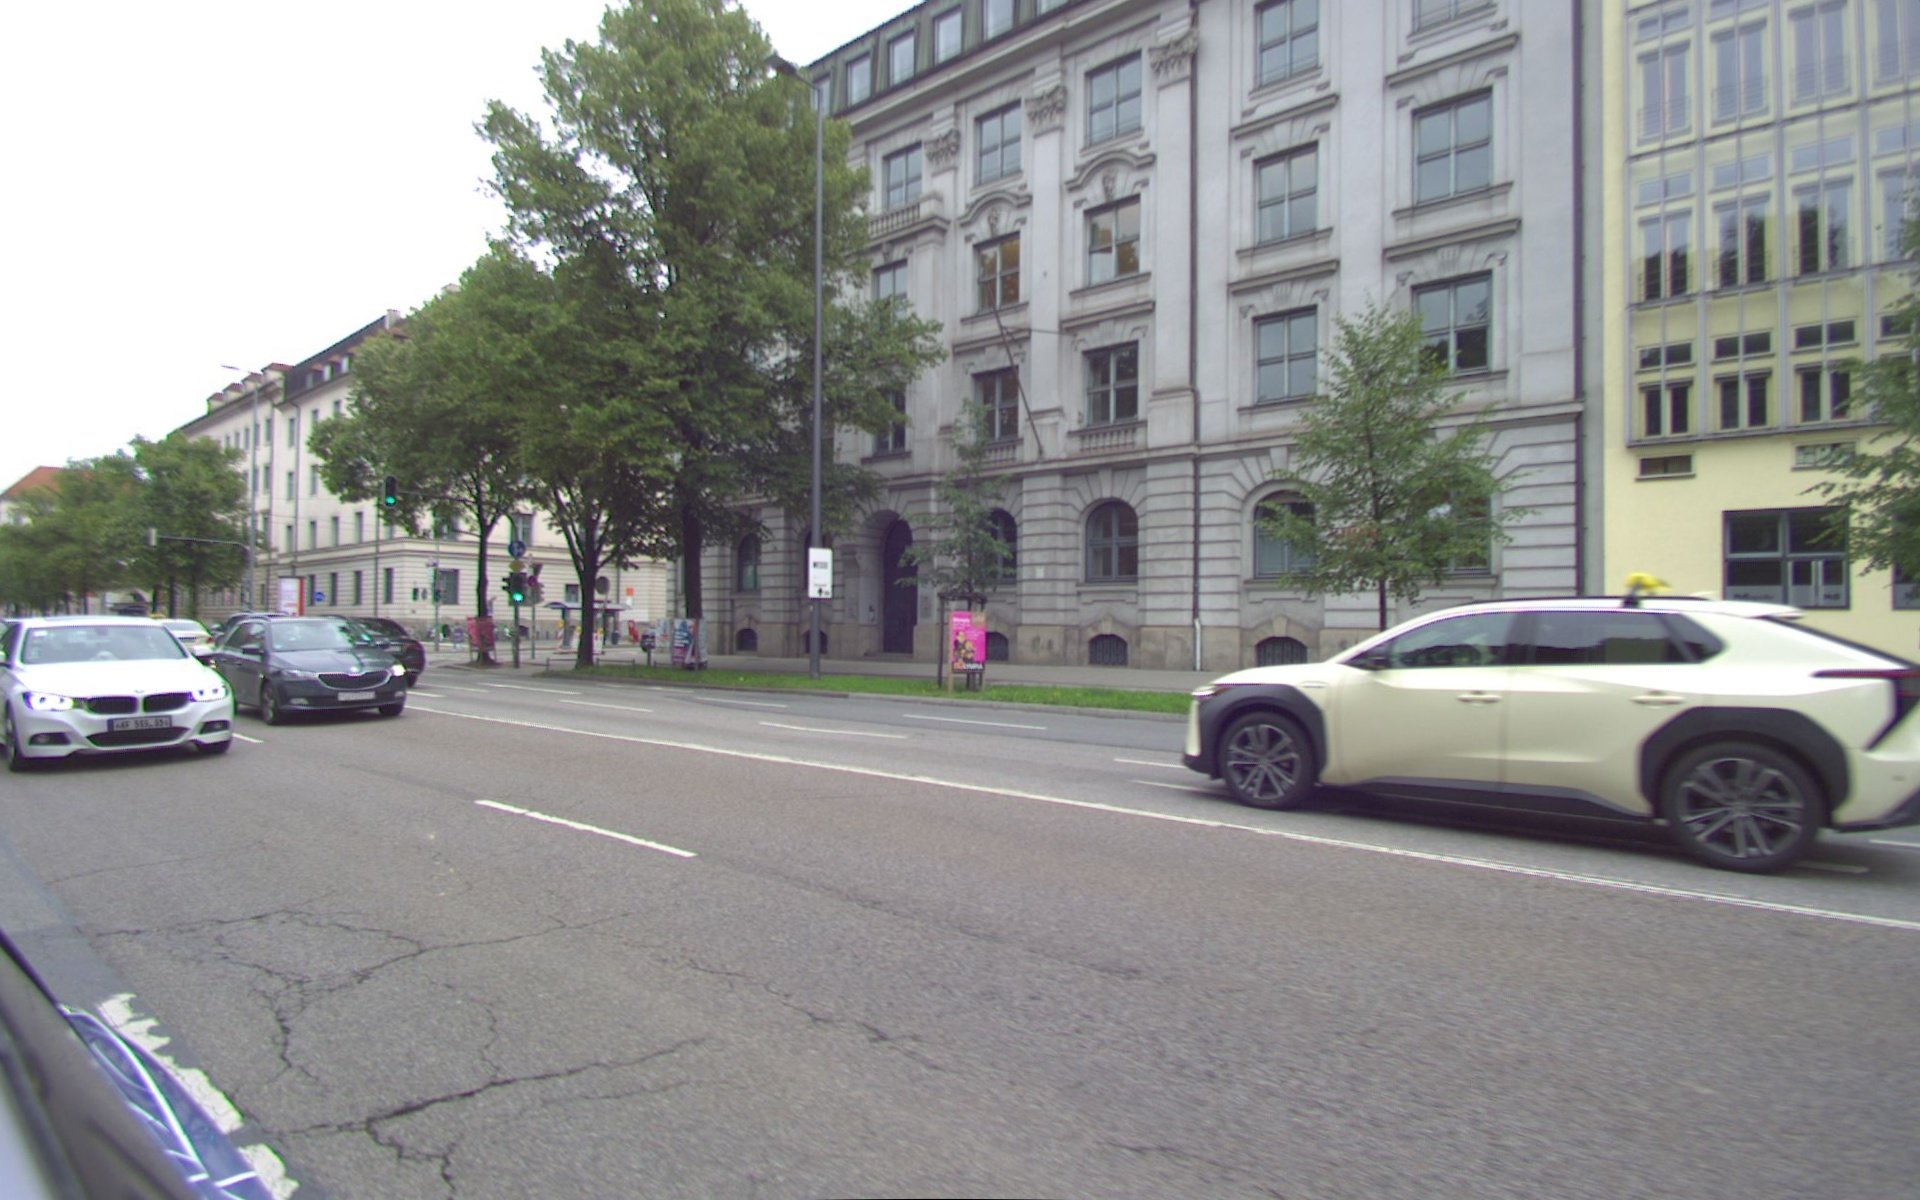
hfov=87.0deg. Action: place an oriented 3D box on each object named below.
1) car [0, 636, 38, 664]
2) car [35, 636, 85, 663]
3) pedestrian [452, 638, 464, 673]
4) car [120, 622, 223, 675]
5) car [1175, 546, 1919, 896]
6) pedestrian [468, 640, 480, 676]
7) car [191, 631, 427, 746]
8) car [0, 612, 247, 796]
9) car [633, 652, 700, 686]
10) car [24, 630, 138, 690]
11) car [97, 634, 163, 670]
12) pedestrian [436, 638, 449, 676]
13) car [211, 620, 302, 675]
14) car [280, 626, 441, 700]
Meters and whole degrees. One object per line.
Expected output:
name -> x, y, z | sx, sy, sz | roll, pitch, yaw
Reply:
car -> -55.221, 2.909, 59.089 | 3.944, 1.584, 1.617 | -2, -3, 41
car -> -56.139, 3.125, 63.127 | 3.997, 1.608, 1.726 | -2, -5, 41
pedestrian -> -25.588, 2.807, 51.554 | 0.494, 1.752, 0.471 | 1, -2, -31
car -> -25.449, 1.607, 32.591 | 4.822, 1.554, 1.808 | -4, -5, 42
car -> 4.013, 0.707, 7.081 | 4.628, 1.762, 1.837 | -2, -5, 42
pedestrian -> -25.108, 2.989, 52.241 | 0.494, 1.869, 0.471 | 1, -2, -31
car -> -9.684, 1.189, 14.923 | 4.272, 1.458, 1.774 | -1, -3, 41
car -> -9.868, 1.004, 11.427 | 5.023, 1.649, 1.774 | -1, -3, 41
car -> -15.926, 3.698, 55.013 | 1.682, 1.744, 3.546 | -1, -3, 22
car -> -23.966, 1.584, 27.554 | 4.335, 1.528, 1.674 | -2, -3, 40
car -> -41.368, 2.581, 50.404 | 4.348, 1.668, 1.821 | -2, -4, 41
pedestrian -> -26.144, 2.869, 51.128 | 0.494, 1.869, 0.529 | 1, -2, -31
car -> -25.490, 1.708, 36.622 | 4.261, 1.763, 1.807 | 0, -4, 44
car -> -13.061, 1.344, 21.924 | 4.748, 1.434, 1.747 | -2, -5, 44
